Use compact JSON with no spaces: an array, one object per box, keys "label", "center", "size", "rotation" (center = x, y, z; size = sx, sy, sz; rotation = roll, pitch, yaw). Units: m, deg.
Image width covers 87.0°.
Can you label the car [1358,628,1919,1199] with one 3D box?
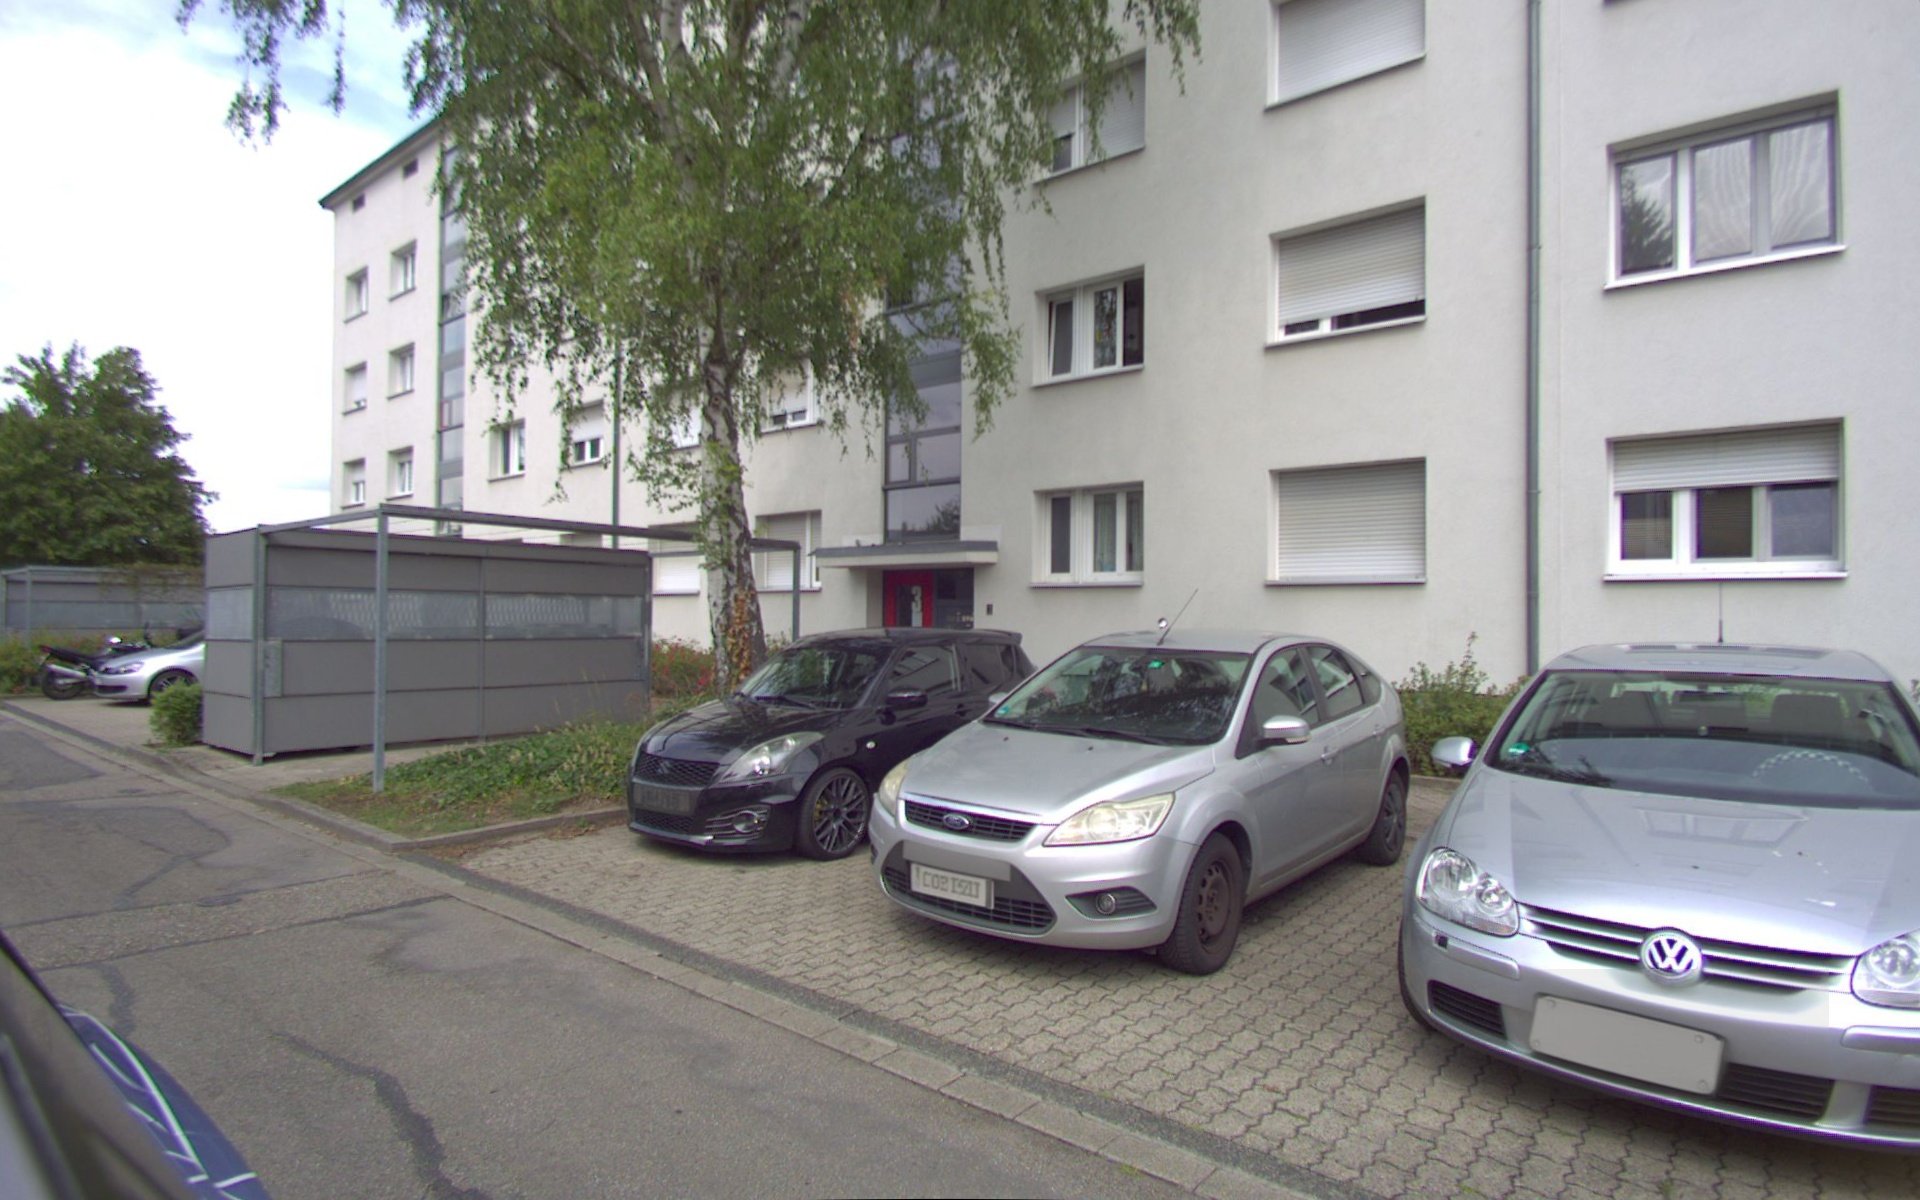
[{"label":"car","center":[3.184,0.889,4.149],"size":[1.780,1.475,4.011],"rotation":[-1,-2,39]}]

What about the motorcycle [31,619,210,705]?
[{"label":"motorcycle","center":[-15.278,1.134,18.491],"size":[0.713,1.475,2.353],"rotation":[-1,-4,39]}]

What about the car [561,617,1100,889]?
[{"label":"car","center":[-0.728,0.939,7.809],"size":[1.780,1.516,4.011],"rotation":[-1,-2,39]}]

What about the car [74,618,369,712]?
[{"label":"car","center":[-13.250,1.164,18.335],"size":[1.901,1.497,3.945],"rotation":[-1,-4,41]}]

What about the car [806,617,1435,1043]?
[{"label":"car","center":[1.229,0.902,5.762],"size":[1.780,1.516,4.011],"rotation":[-1,-2,39]}]
